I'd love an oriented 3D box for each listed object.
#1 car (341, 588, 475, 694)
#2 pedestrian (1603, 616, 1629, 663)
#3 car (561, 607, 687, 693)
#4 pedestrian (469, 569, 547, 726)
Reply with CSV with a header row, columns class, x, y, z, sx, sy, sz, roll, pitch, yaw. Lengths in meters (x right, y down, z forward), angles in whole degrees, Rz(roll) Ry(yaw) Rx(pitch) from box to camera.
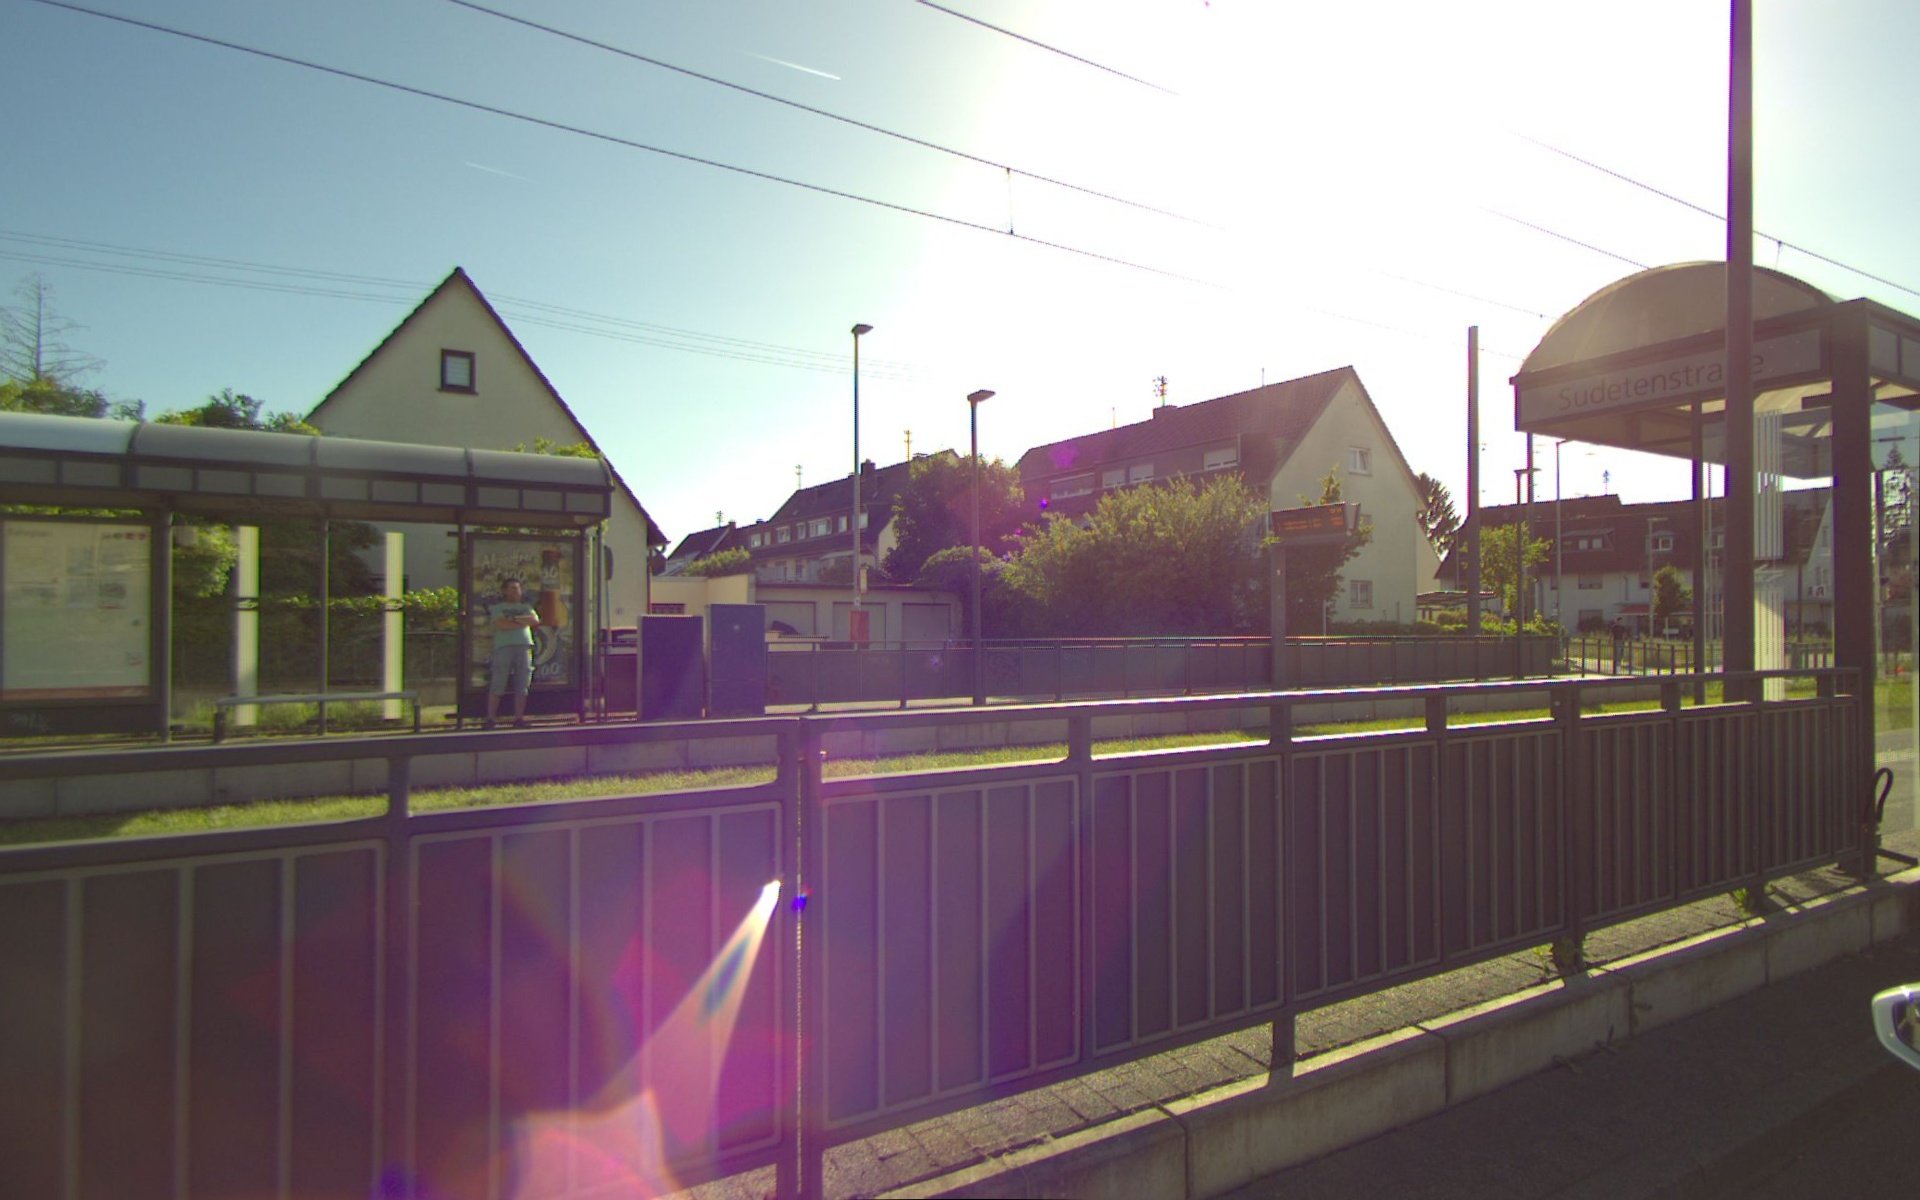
class,x,y,z,sx,sy,sz,roll,pitch,yaw
car,-11.708,0.782,21.179,1.915,1.996,3.958,2,0,-37
pedestrian,24.906,1.506,38.118,0.682,1.755,0.590,1,-1,-32
car,-8.183,1.141,24.282,1.783,1.830,3.816,2,0,-37
pedestrian,-5.148,0.538,11.441,0.762,1.718,0.498,1,-3,-29
